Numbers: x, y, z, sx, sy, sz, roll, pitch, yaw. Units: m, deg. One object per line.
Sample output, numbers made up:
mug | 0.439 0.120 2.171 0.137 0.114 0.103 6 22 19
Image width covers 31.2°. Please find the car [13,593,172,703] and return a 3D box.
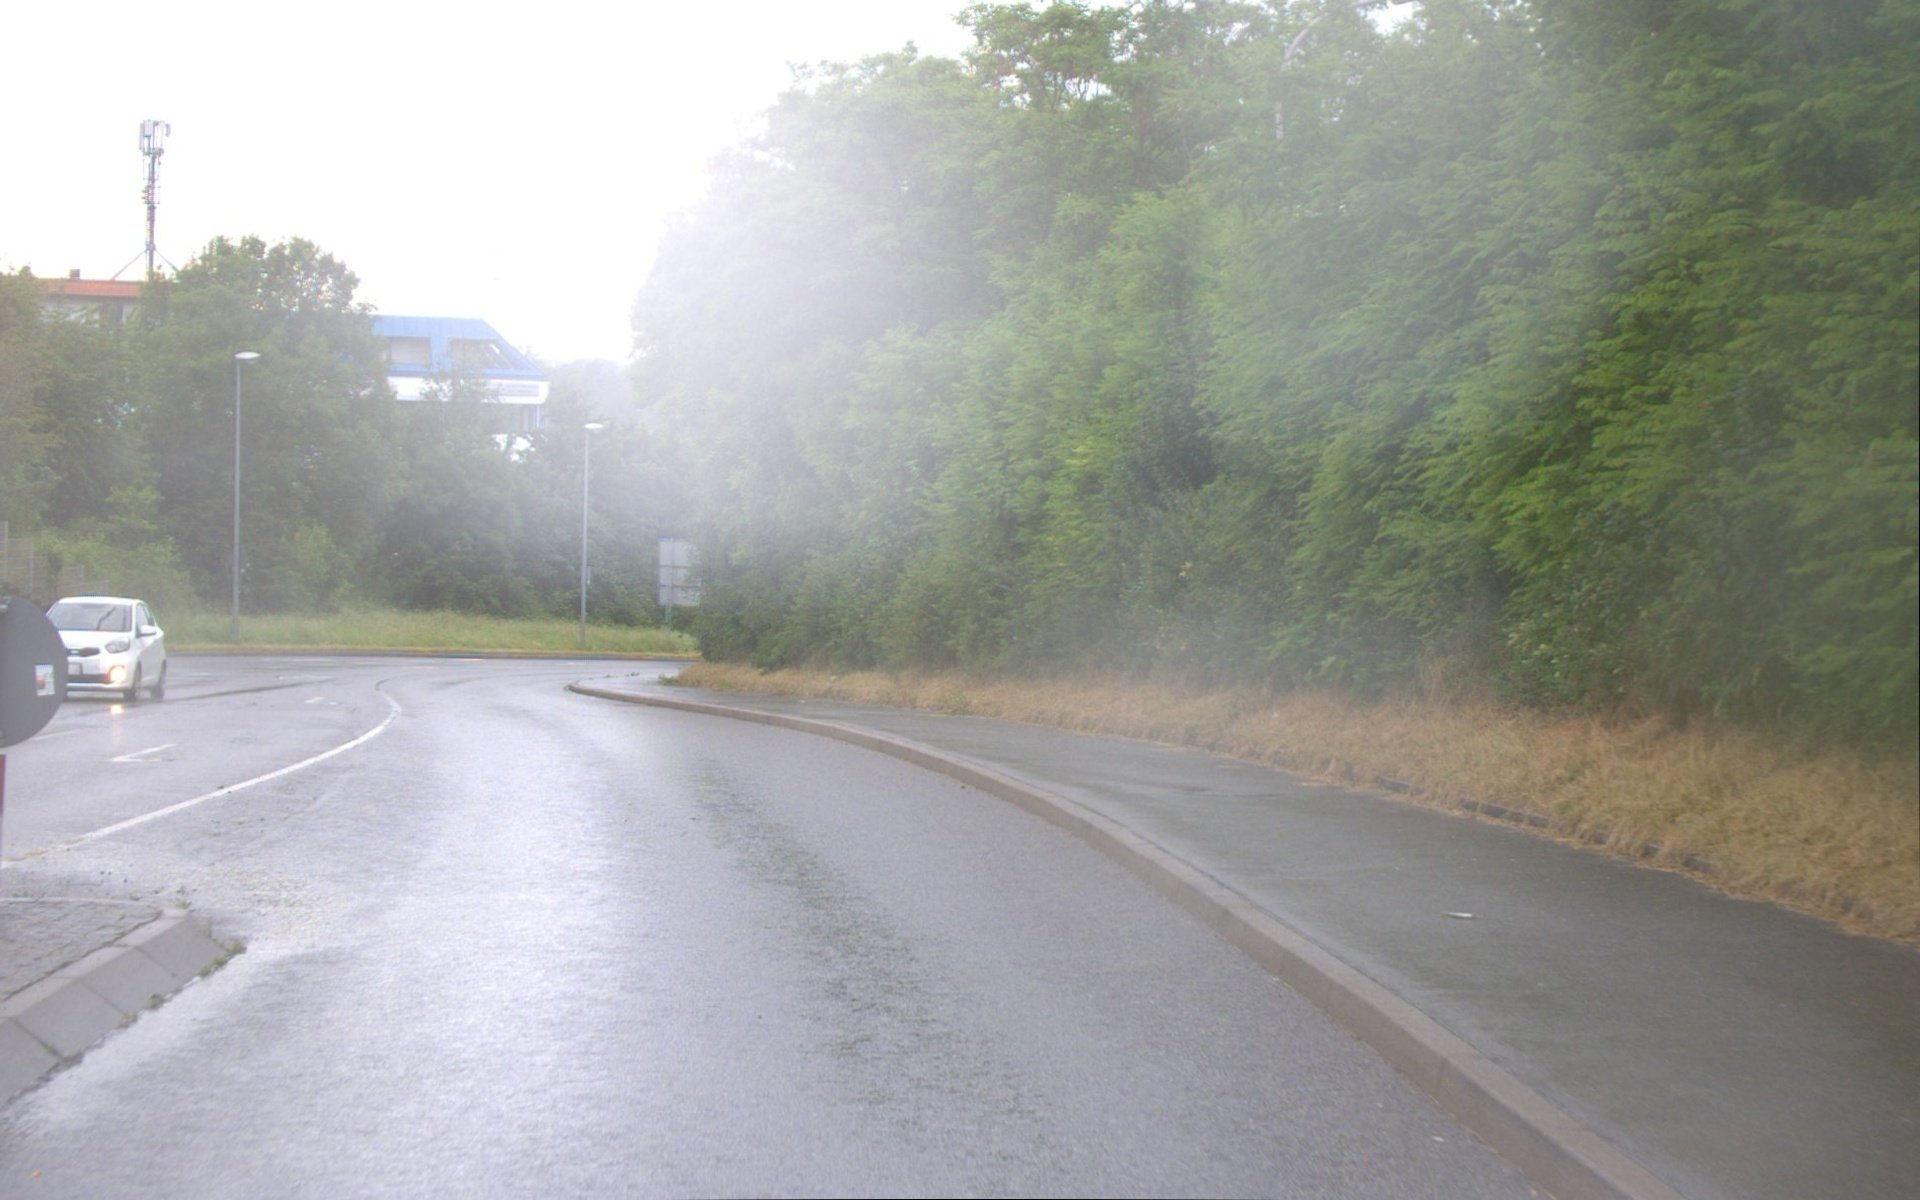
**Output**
car | -12.433 0.665 49.445 1.652 1.424 3.794 1 1 -6
